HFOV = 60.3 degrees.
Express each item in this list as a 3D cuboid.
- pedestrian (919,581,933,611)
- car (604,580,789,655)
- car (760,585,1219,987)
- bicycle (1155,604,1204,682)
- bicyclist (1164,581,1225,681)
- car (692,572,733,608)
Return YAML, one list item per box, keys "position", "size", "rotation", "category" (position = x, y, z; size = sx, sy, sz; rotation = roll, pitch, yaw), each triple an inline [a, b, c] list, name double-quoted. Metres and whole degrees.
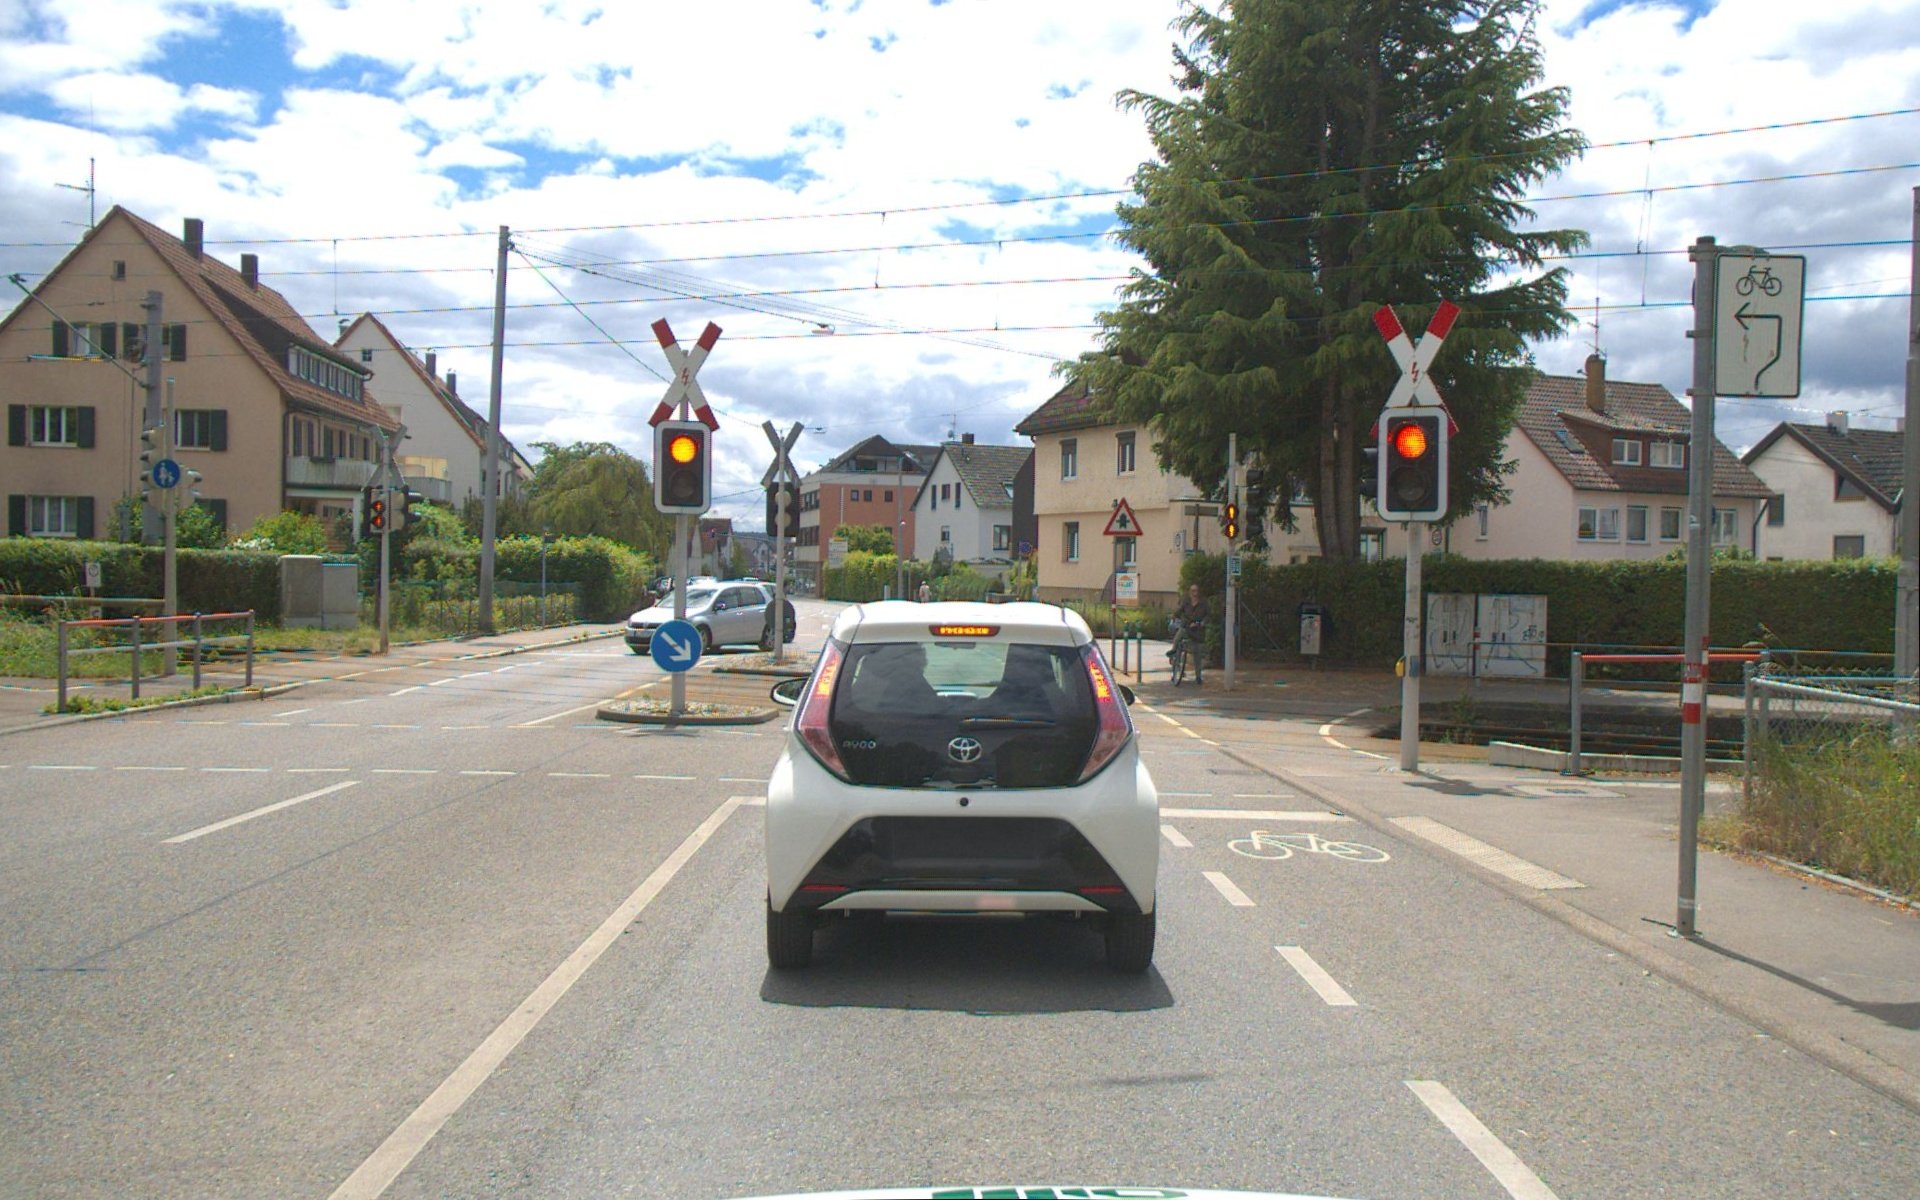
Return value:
- position: [-1.870, -0.237, 90.036]
  size: [0.711, 1.604, 0.803]
  rotation: [2, 0, -1]
  category: "pedestrian"
- position: [-5.616, 0.367, 35.756]
  size: [1.868, 1.466, 4.093]
  rotation: [2, 0, 27]
  category: "car"
- position: [-0.012, 0.694, 8.048]
  size: [1.687, 1.467, 3.705]
  rotation: [2, 0, -4]
  category: "car"
- position: [3.673, 0.700, 27.739]
  size: [0.448, 1.192, 1.477]
  rotation: [-2, 3, -6]
  category: "bicycle"
- position: [3.896, 0.510, 27.511]
  size: [0.825, 1.580, 0.755]
  rotation: [-2, 3, -7]
  category: "bicyclist"
- position: [-12.977, -0.525, 86.779]
  size: [1.956, 1.749, 3.994]
  rotation: [2, 0, -7]
  category: "car"
